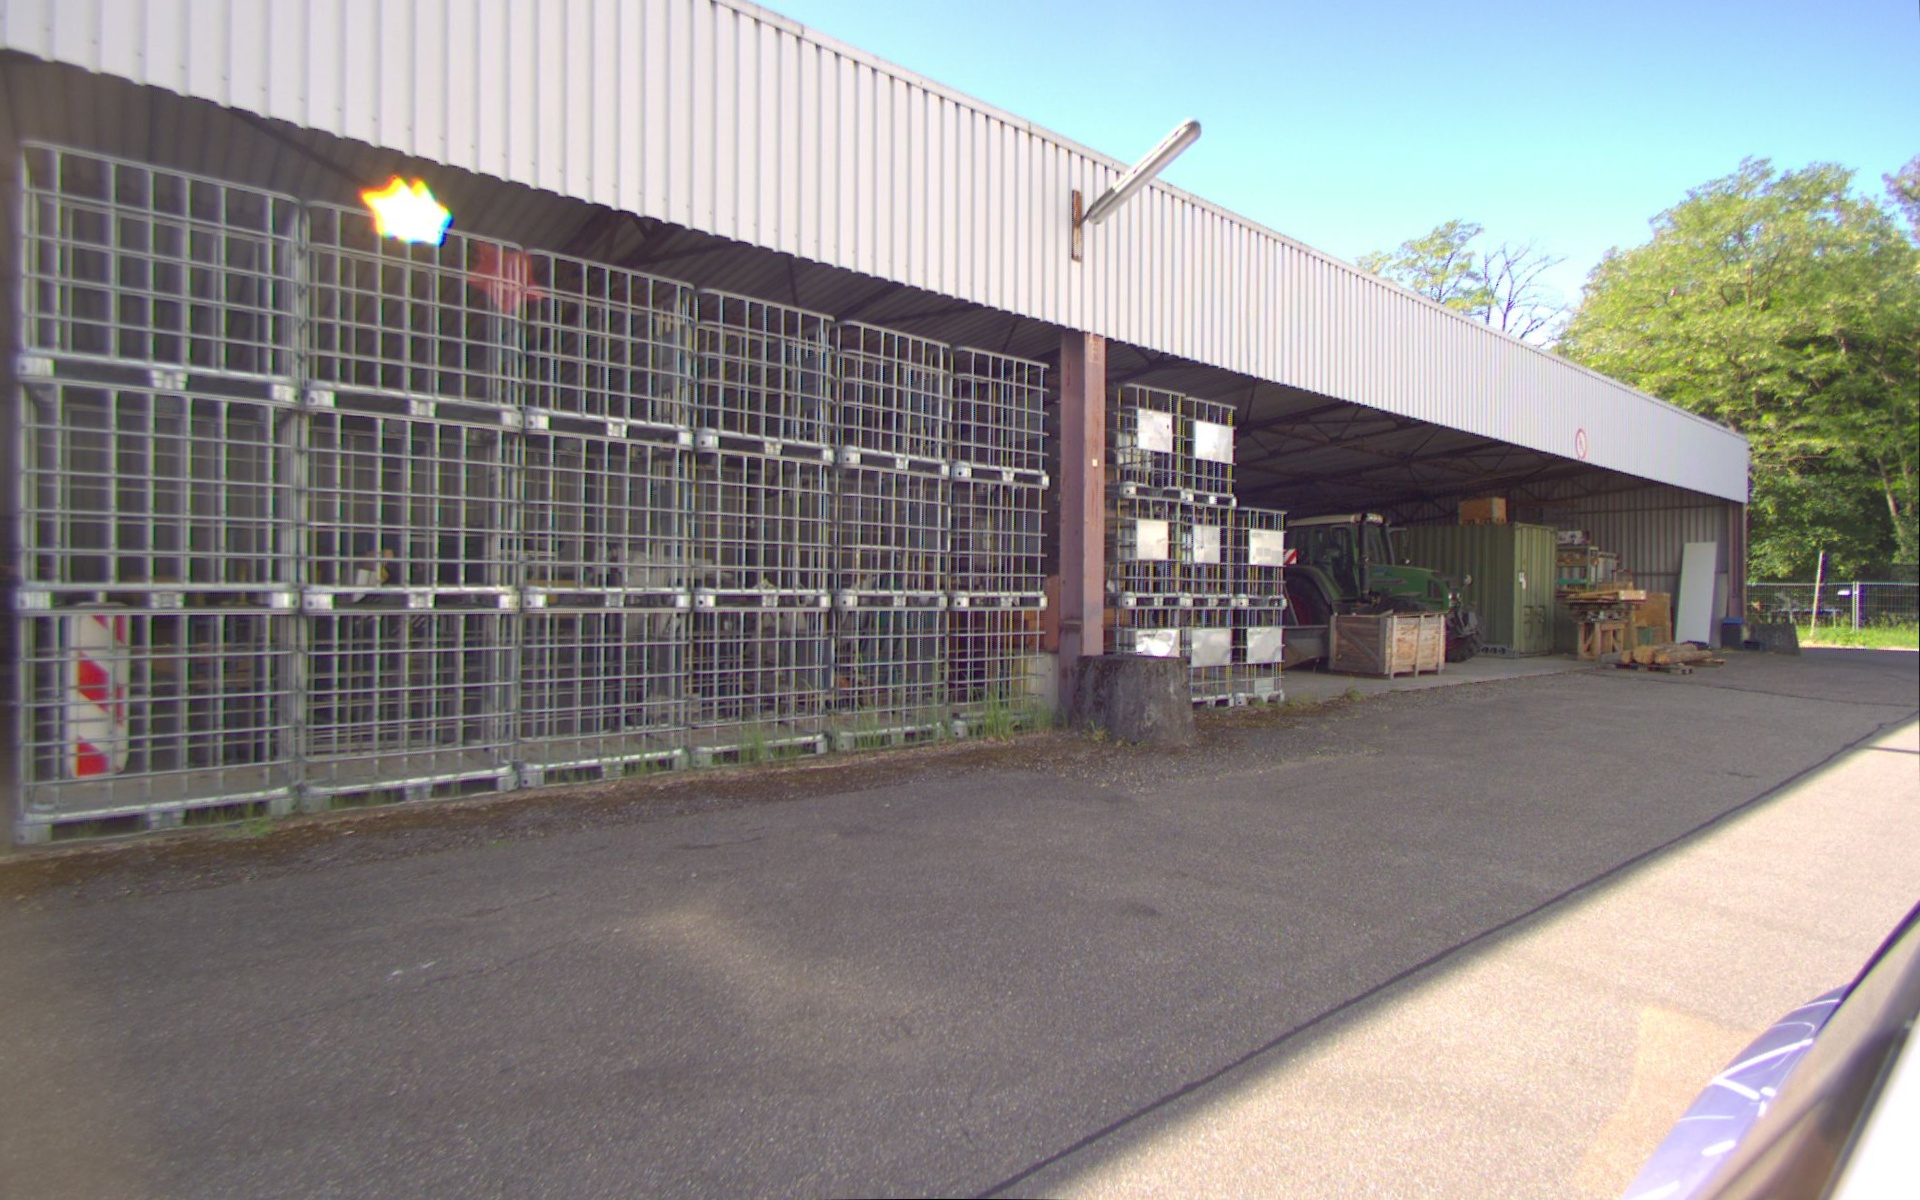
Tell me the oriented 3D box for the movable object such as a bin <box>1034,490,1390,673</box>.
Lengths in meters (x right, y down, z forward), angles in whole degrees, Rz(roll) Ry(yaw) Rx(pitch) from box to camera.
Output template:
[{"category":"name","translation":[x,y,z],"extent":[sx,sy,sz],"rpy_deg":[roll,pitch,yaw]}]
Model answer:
[{"category":"movable object such as a bin","translation":[4.634,-0.324,19.641],"extent":[2.962,2.947,6.199],"rpy_deg":[0,0,-39]}]

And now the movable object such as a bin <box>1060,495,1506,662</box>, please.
[{"category":"movable object such as a bin","translation":[6.577,-0.404,22.385],"extent":[3.154,2.947,9.213],"rpy_deg":[0,0,-39]}]
